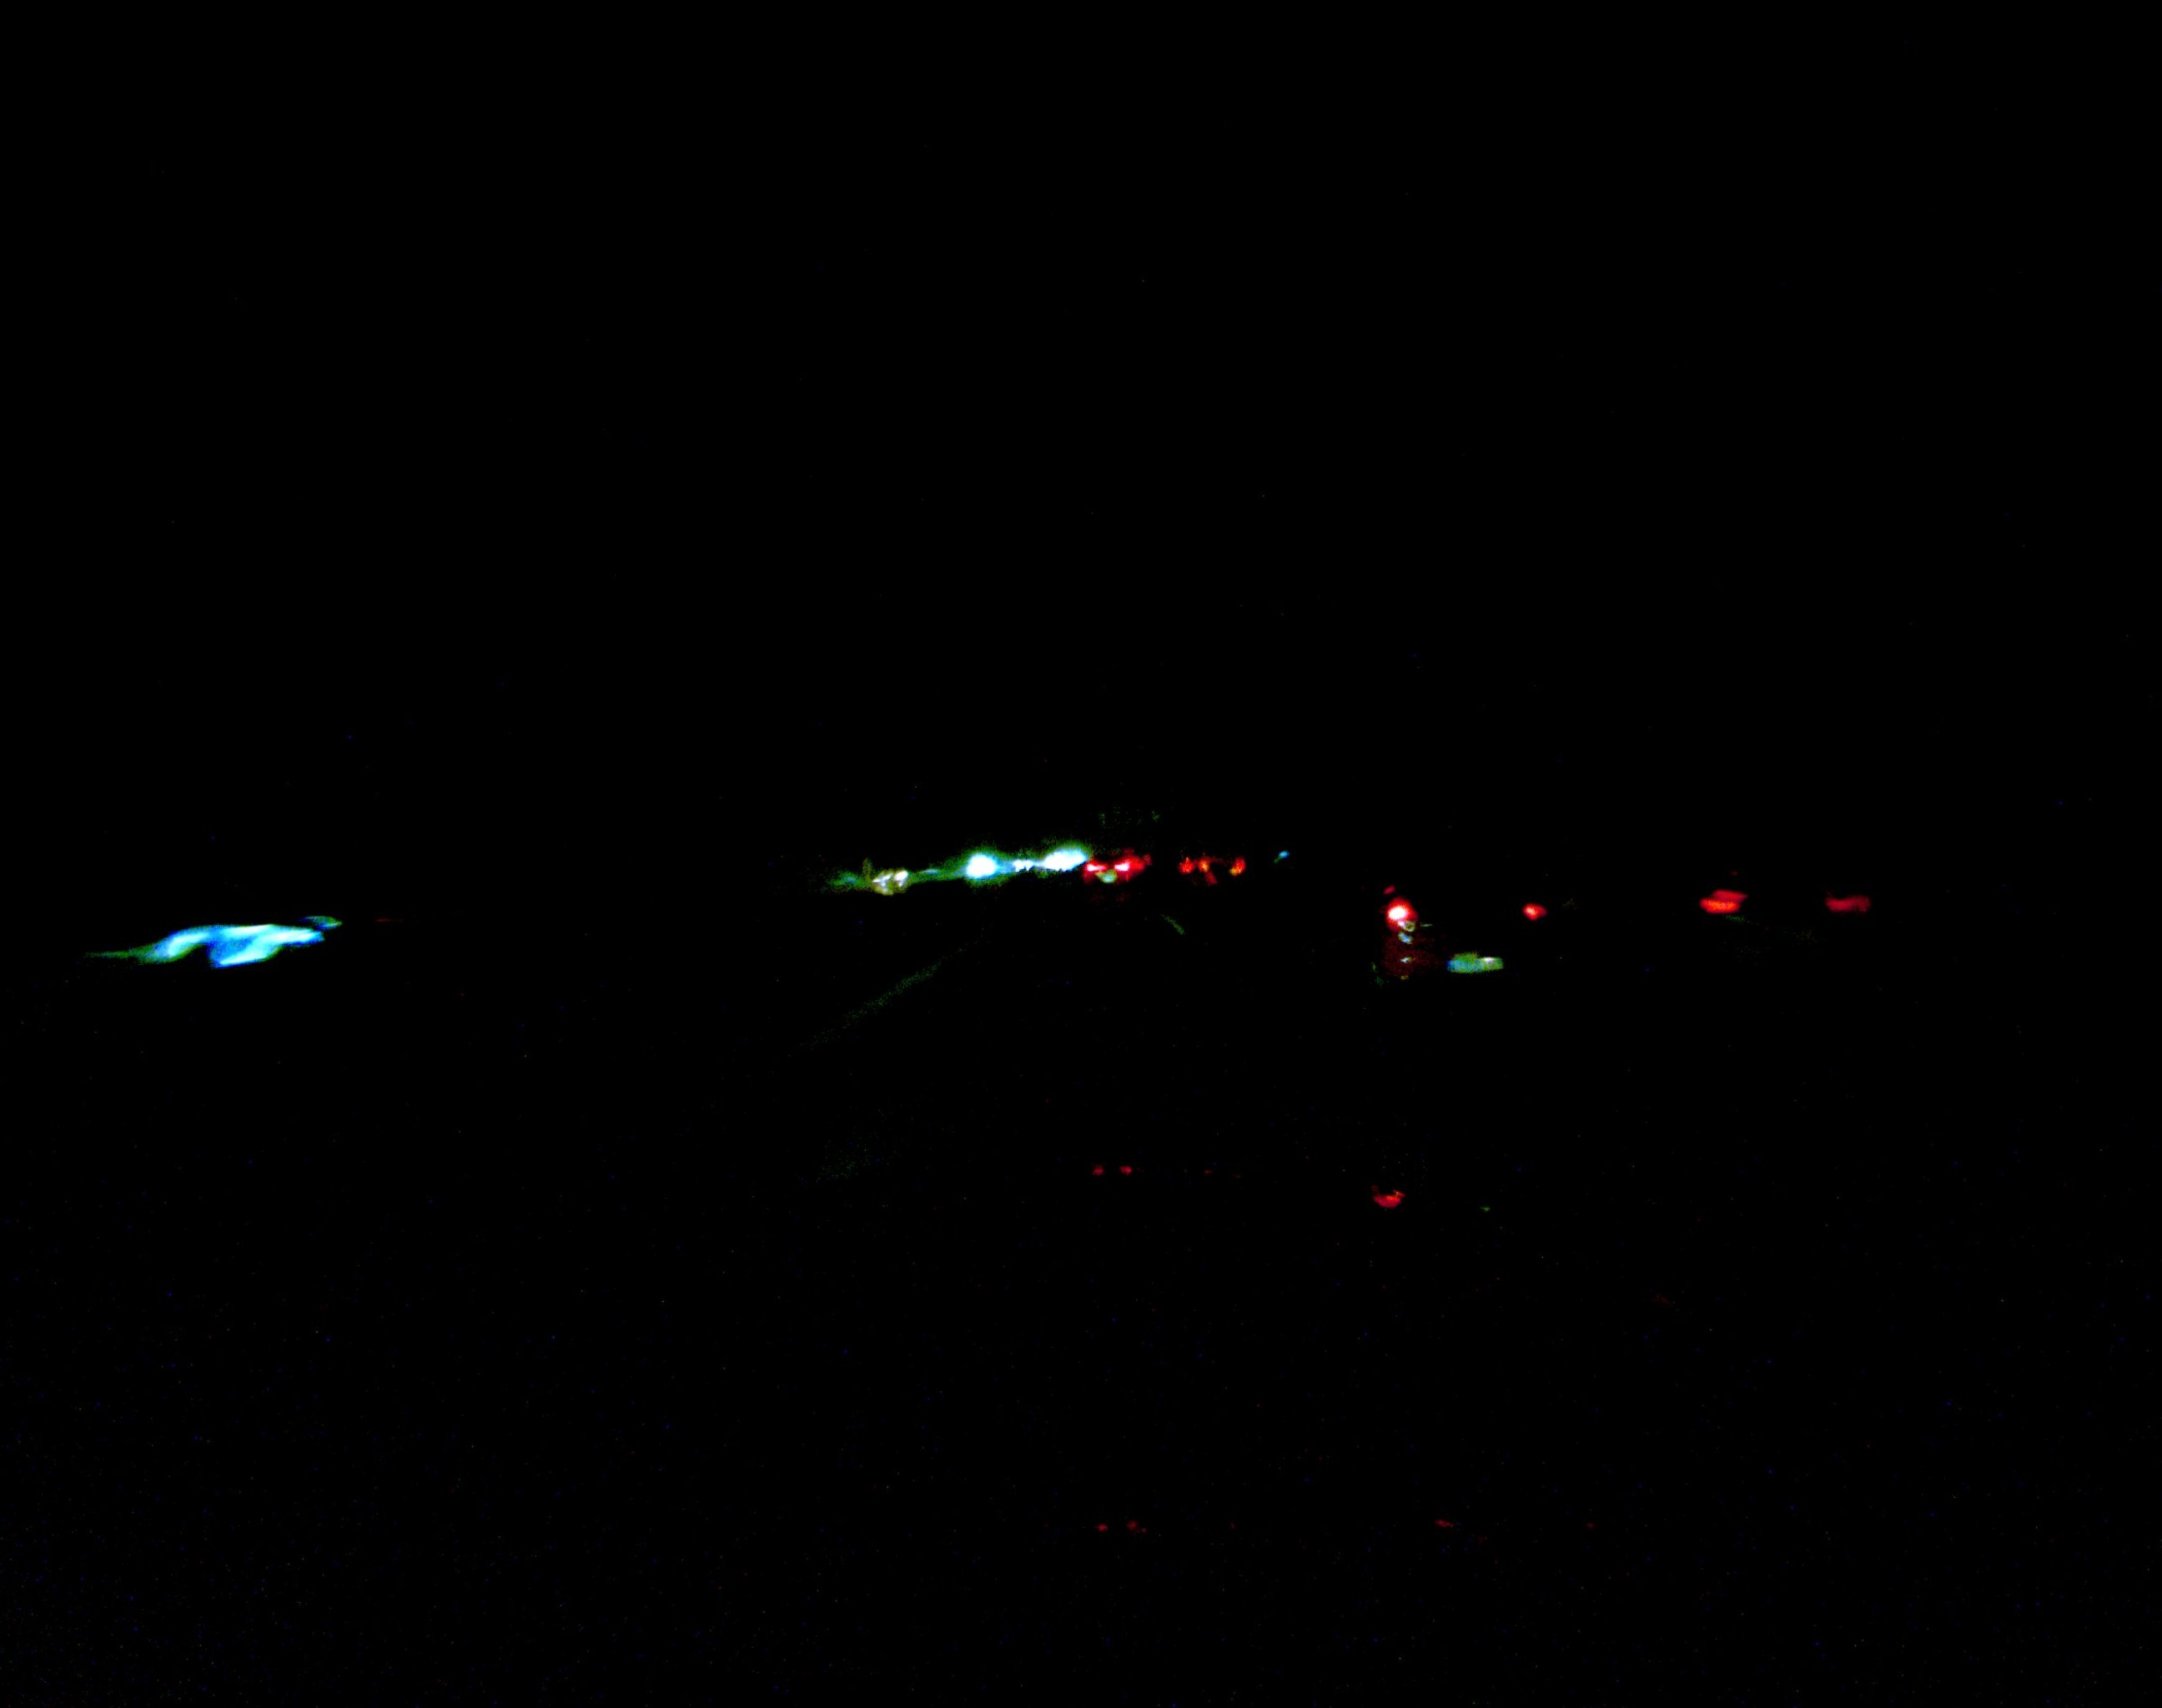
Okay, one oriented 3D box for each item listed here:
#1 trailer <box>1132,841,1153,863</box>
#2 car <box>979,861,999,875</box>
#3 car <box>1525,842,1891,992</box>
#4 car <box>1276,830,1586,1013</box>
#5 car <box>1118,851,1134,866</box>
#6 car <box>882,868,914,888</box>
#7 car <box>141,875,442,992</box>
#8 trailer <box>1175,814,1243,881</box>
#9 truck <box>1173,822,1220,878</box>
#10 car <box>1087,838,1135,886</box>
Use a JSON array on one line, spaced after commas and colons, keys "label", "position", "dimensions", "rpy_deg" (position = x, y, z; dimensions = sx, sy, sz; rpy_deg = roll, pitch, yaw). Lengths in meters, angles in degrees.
[{"label": "trailer", "position": [12.770, -0.349, 169.875], "dimensions": [3.031, 4.109, 13.826], "rpy_deg": [-3, -1, 0]}, {"label": "car", "position": [-12.777, 1.921, 113.394], "dimensions": [1.986, 1.759, 4.592], "rpy_deg": [-3, 0, 2]}, {"label": "car", "position": [7.641, 0.665, 10.510], "dimensions": [1.634, 1.503, 4.013], "rpy_deg": [-2, 0, 1]}, {"label": "car", "position": [3.656, 0.639, 9.501], "dimensions": [1.734, 1.575, 4.494], "rpy_deg": [-2, -1, 1]}, {"label": "car", "position": [6.545, 0.653, 118.697], "dimensions": [1.988, 2.014, 3.997], "rpy_deg": [-3, -1, -2]}, {"label": "car", "position": [-17.644, 2.281, 78.673], "dimensions": [1.986, 1.714, 4.248], "rpy_deg": [-3, 0, 2]}, {"label": "car", "position": [-16.430, 1.537, 17.360], "dimensions": [1.986, 2.014, 4.393], "rpy_deg": [-2, -1, 2]}, {"label": "trailer", "position": [8.991, -0.340, 59.171], "dimensions": [2.892, 4.108, 14.491], "rpy_deg": [-3, -1, 2]}, {"label": "truck", "position": [9.169, -0.263, 65.255], "dimensions": [2.892, 4.108, 6.032], "rpy_deg": [-3, -1, 1]}, {"label": "car", "position": [1.320, 0.395, 36.267], "dimensions": [1.986, 2.014, 4.001], "rpy_deg": [-1, -2, 2]}]
